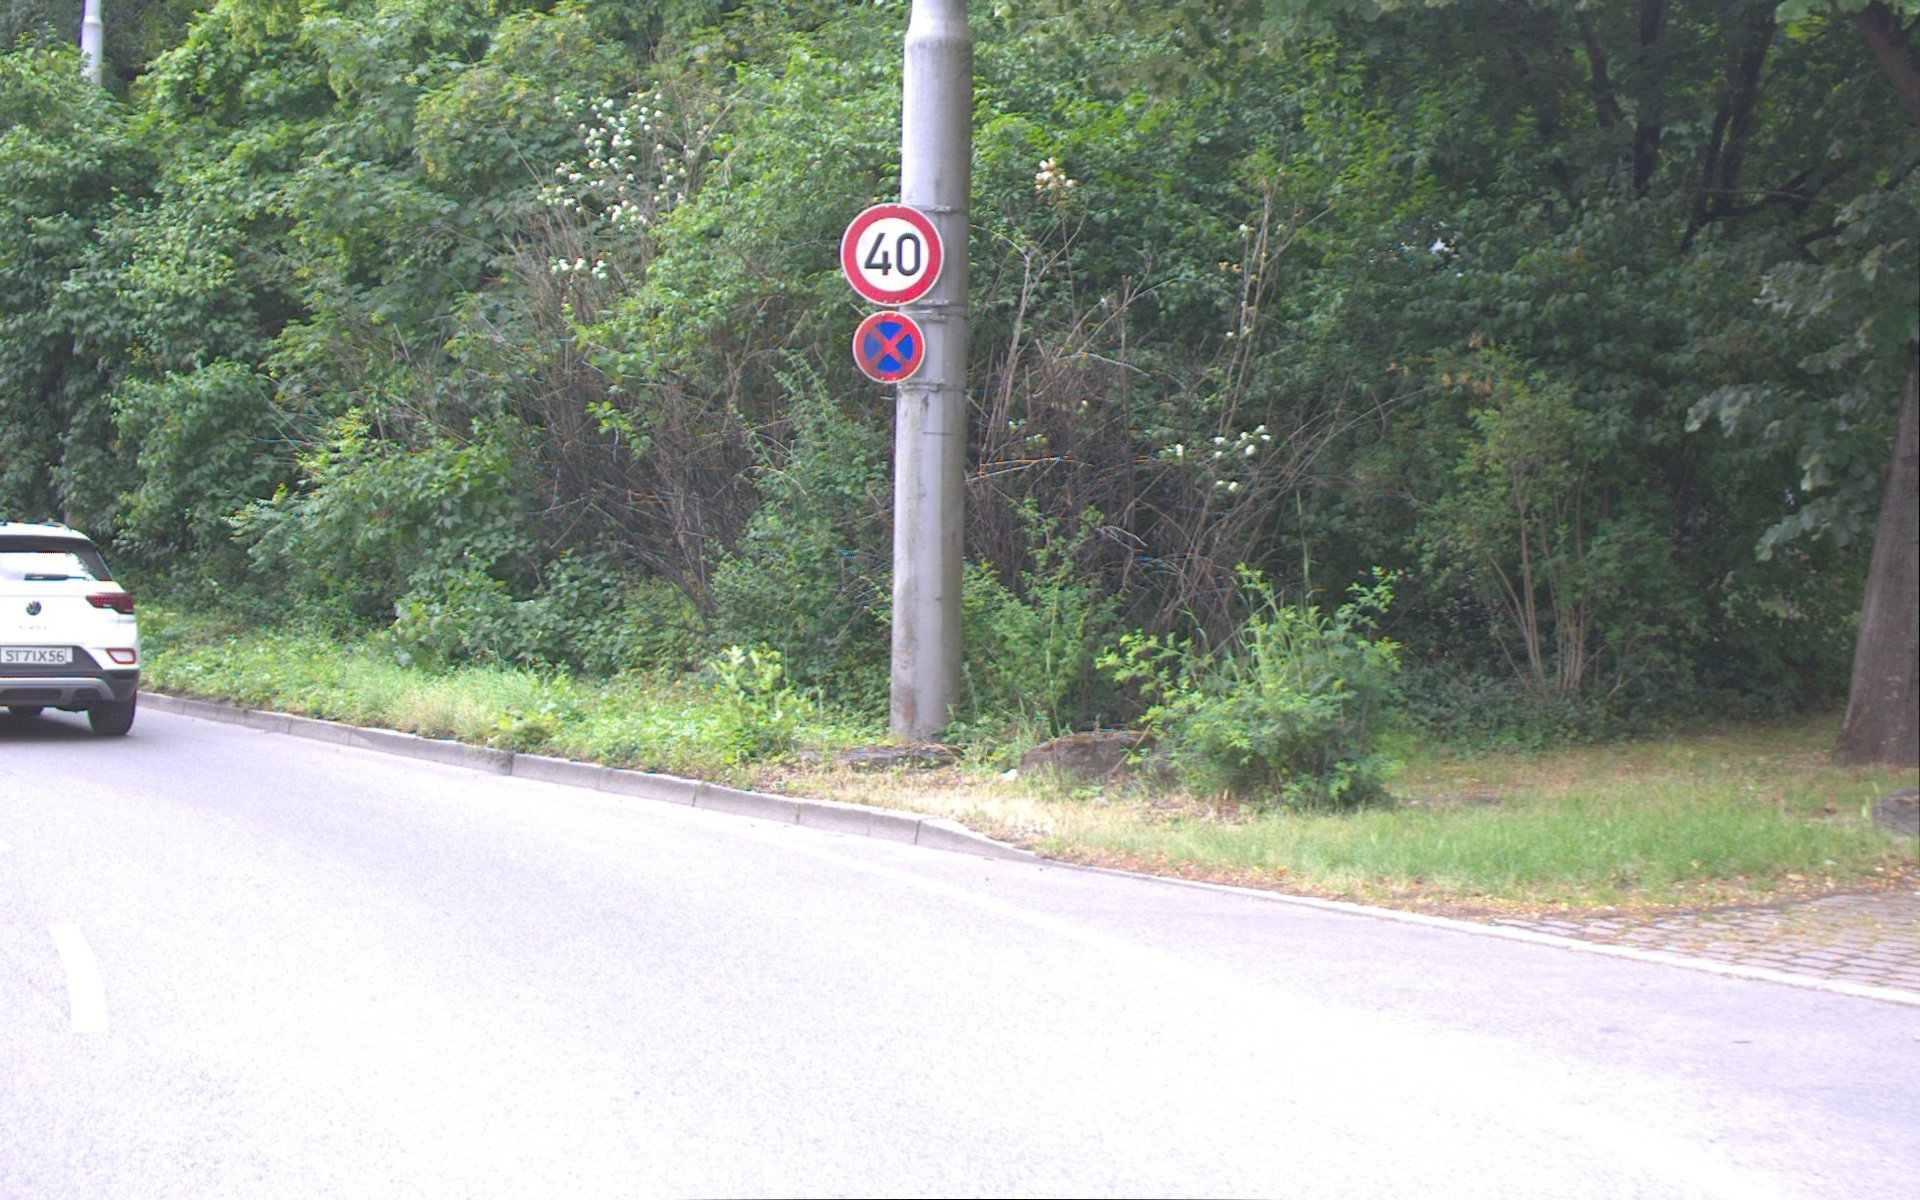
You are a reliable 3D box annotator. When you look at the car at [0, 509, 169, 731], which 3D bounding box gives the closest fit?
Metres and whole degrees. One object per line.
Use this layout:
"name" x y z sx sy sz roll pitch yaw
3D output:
"car" -7.449 0.098 25.887 1.864 1.551 3.895 1 1 -29
